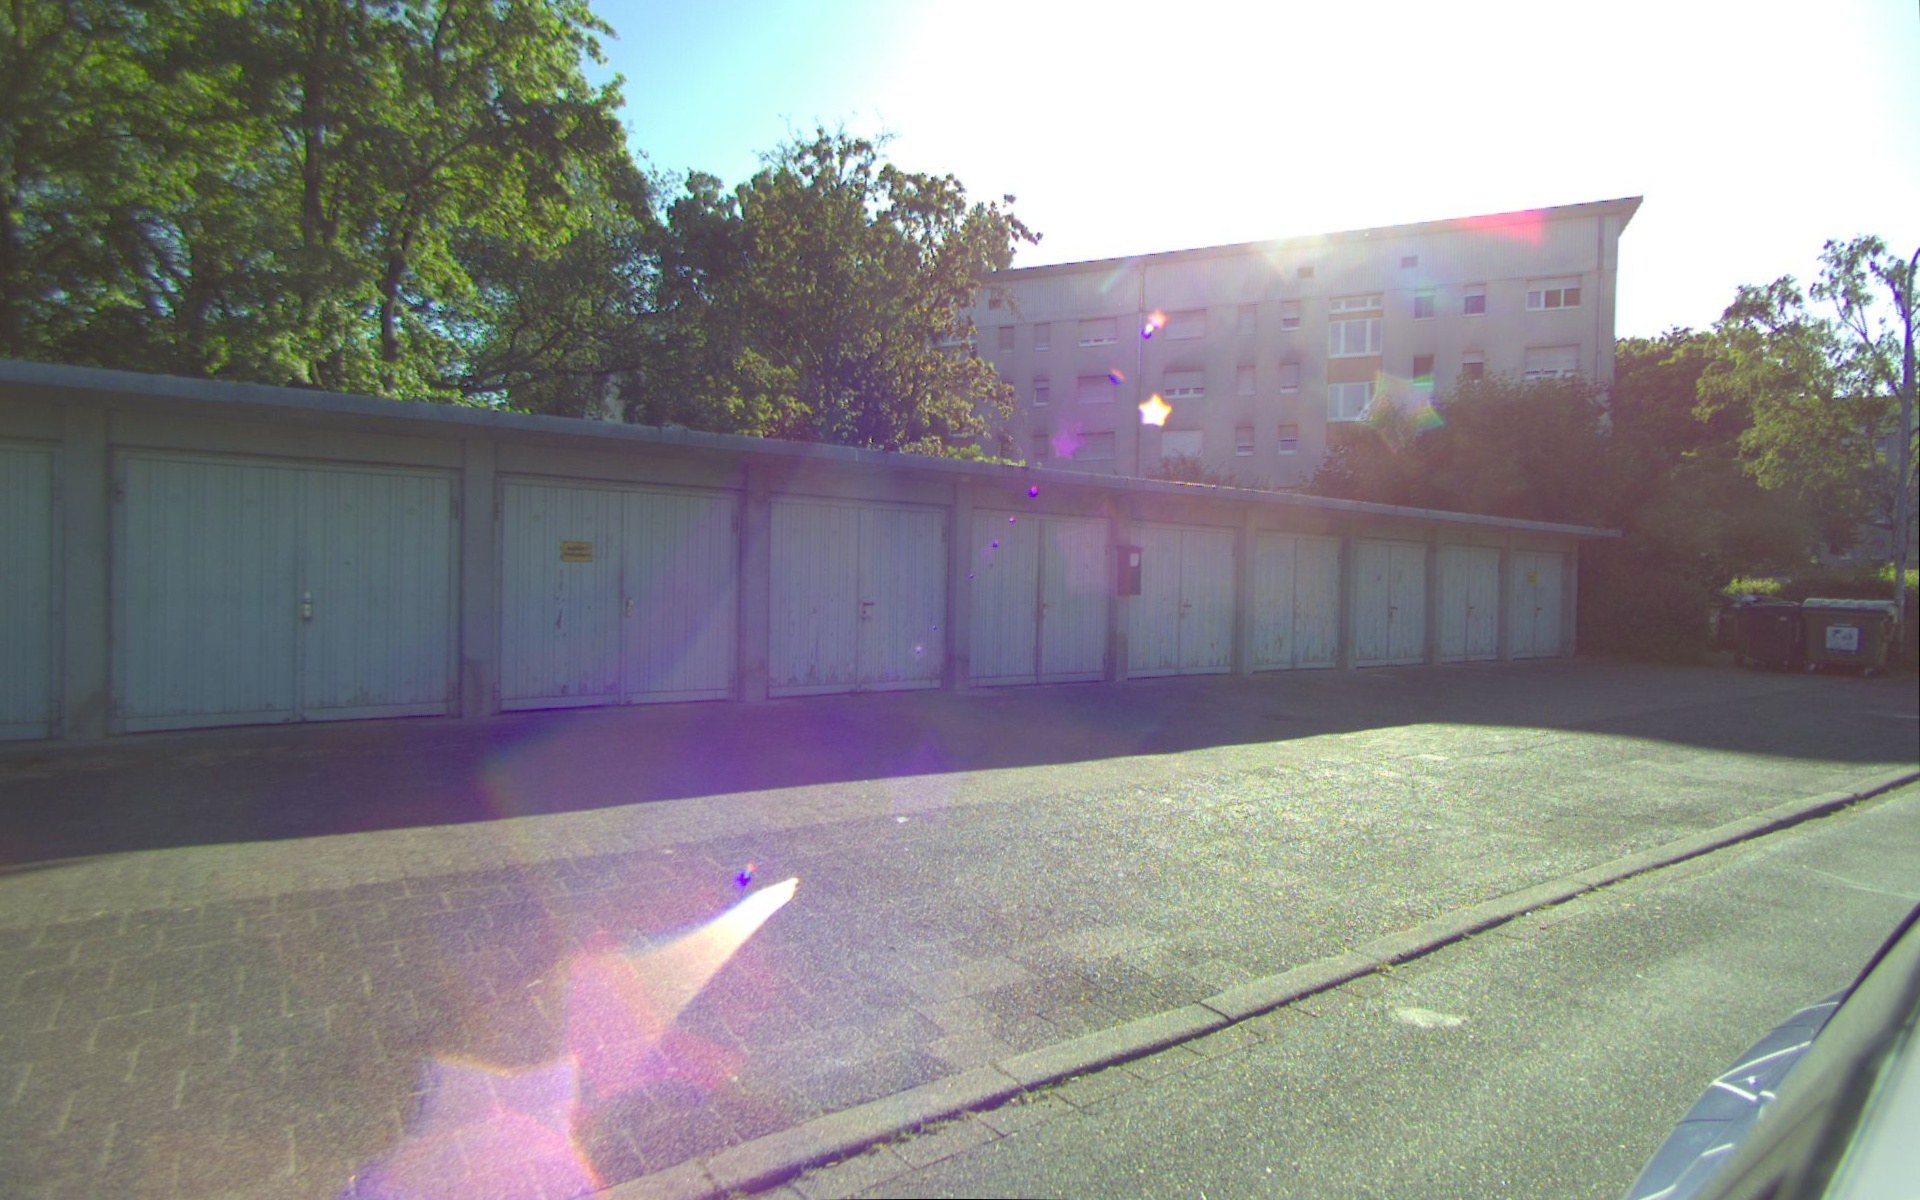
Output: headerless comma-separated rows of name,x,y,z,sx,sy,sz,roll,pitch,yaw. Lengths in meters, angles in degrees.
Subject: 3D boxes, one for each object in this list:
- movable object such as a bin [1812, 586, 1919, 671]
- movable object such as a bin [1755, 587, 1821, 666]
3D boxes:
movable object such as a bin,16.962,0.490,18.952,1.158,1.459,1.278,-1,3,-37
movable object such as a bin,15.961,0.490,19.510,0.832,1.459,0.754,-1,3,-37
